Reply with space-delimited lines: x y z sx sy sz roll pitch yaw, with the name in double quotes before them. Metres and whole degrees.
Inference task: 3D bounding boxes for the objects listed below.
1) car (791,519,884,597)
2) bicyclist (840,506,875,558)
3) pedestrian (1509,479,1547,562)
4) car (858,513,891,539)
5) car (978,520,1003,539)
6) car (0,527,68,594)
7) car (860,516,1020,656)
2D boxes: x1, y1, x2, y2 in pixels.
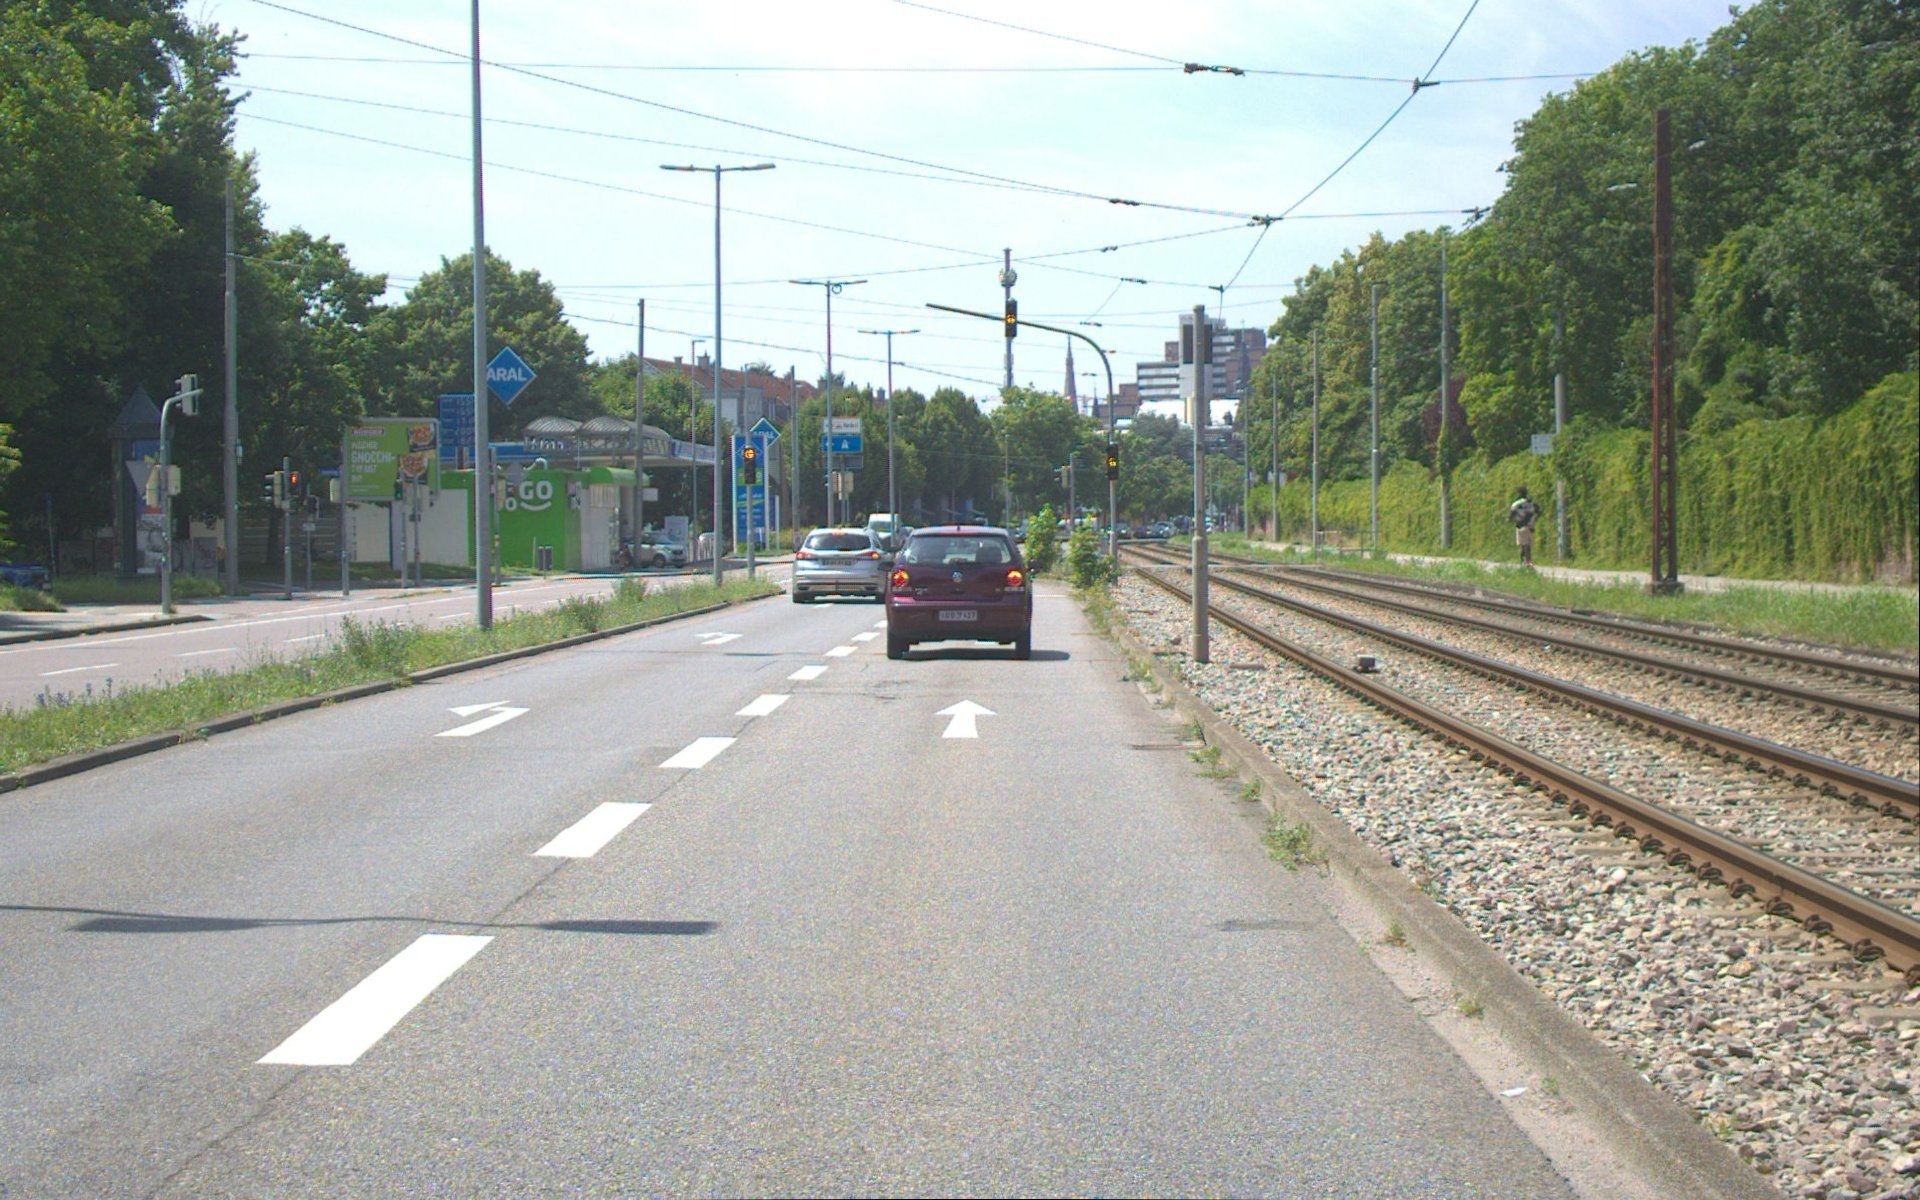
"car" -2.423 -0.835 67.394 1.702 1.475 3.717 0 1 -4
"bicyclist" -3.131 -2.075 105.174 0.944 1.588 1.088 1 0 -8
"pedestrian" 11.906 -1.660 72.083 0.661 1.720 0.816 -1 1 0
"car" -5.642 -4.840 225.683 1.993 1.590 4.001 1 0 -4
"car" 2.274 -5.325 258.335 1.737 1.413 4.000 -1 1 2
"car" -24.021 -0.956 83.839 3.989 1.574 1.771 -1 1 12
"car" -0.191 -0.194 39.112 1.703 1.472 3.716 1 1 1
